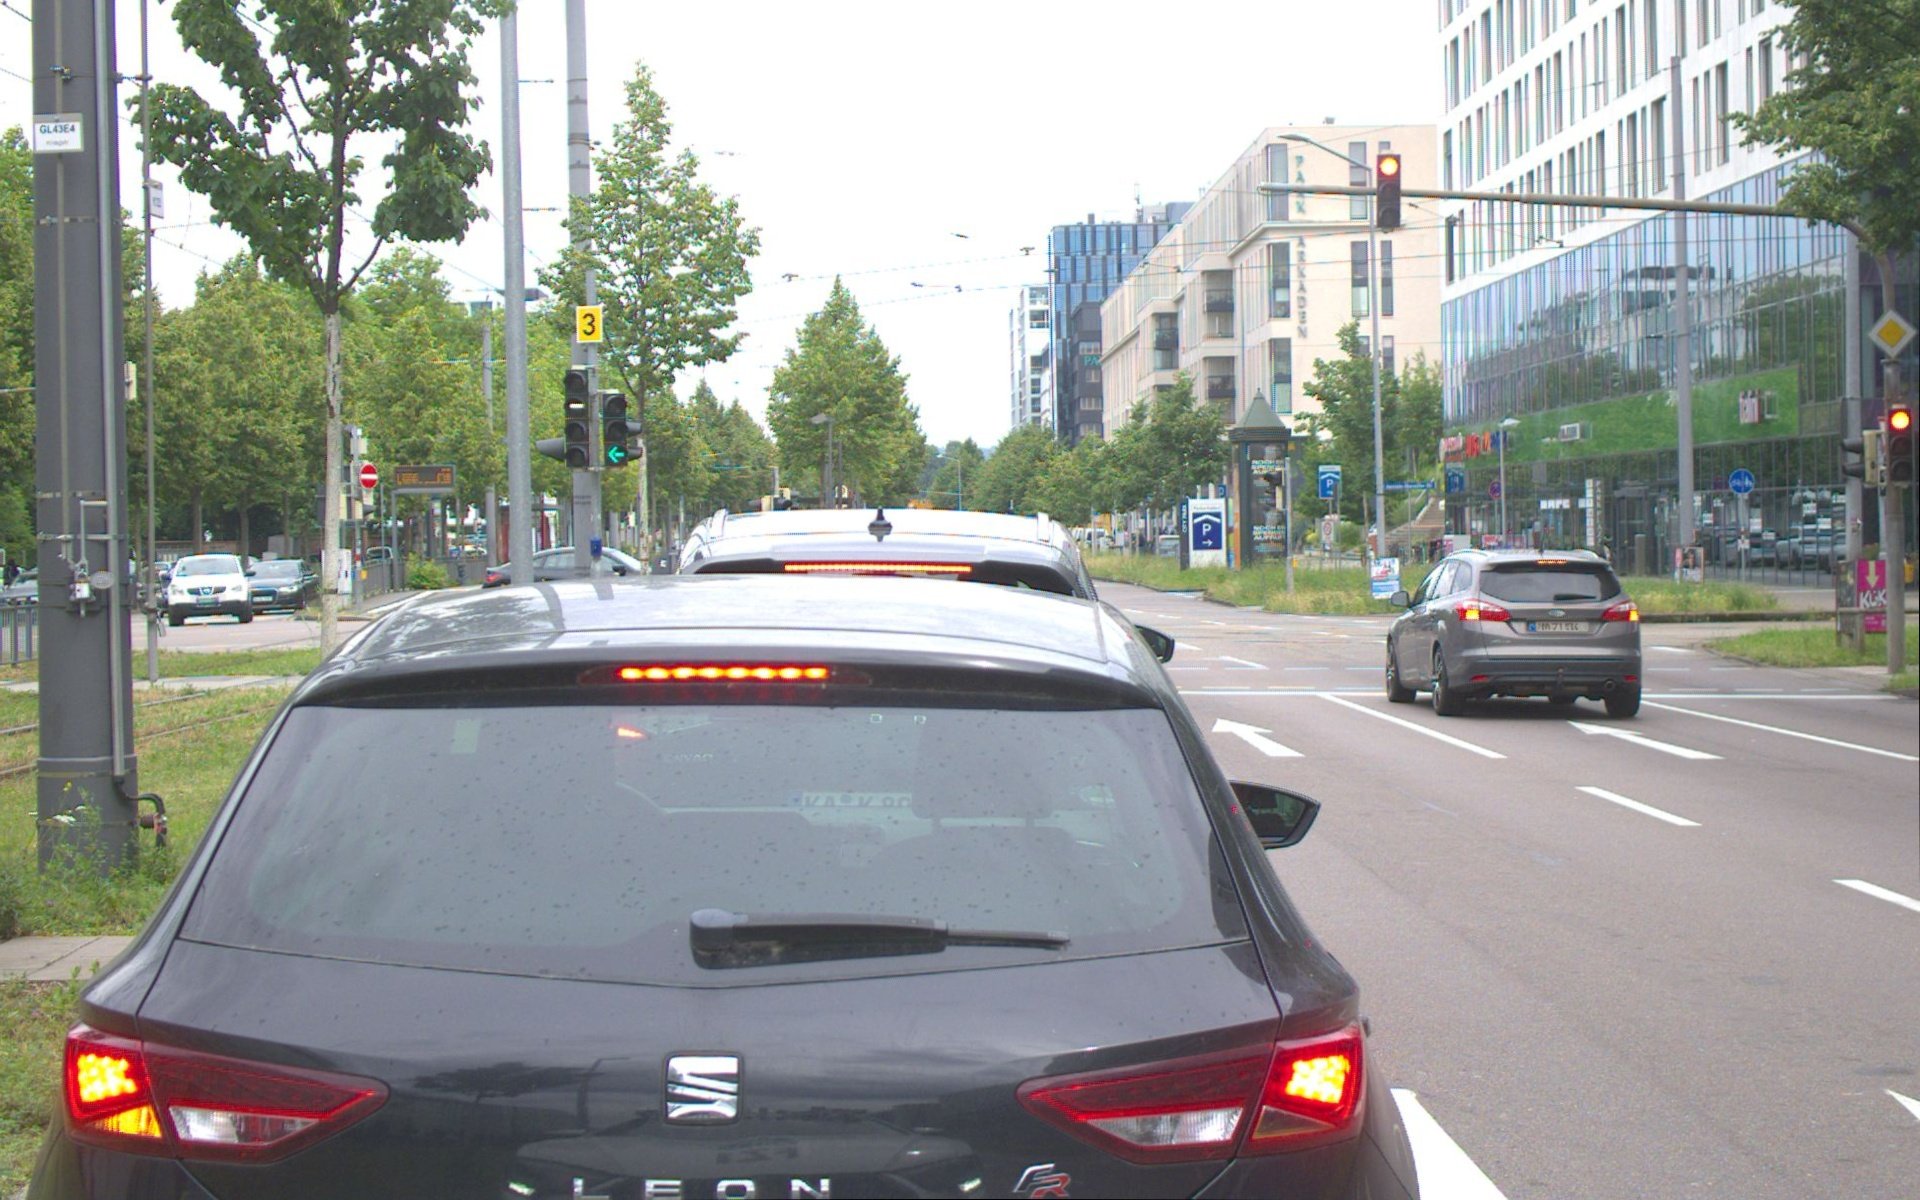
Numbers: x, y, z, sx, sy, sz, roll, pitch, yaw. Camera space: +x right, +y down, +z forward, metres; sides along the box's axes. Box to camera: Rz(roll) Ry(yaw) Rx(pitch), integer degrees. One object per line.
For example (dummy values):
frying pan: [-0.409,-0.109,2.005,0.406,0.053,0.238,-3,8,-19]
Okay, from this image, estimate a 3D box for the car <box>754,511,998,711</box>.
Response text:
car: [-0.693,0.043,31.144,1.993,1.676,4.000,1,1,2]

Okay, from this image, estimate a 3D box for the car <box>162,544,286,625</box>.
car: [-16.709,-0.381,78.191,1.993,1.744,4.201,-1,1,-2]

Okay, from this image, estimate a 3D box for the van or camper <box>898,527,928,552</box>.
van or camper: [-3.286,-4.256,239.978,1.993,1.609,4.789,0,2,0]

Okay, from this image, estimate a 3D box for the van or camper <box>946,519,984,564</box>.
van or camper: [0.288,-3.339,193.804,2.109,2.348,4.924,0,3,0]

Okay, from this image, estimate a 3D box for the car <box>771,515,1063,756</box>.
car: [-0.242,0.200,26.084,1.994,1.676,4.000,1,1,2]

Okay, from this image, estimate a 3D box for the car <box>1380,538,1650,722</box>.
car: [5.004,0.217,31.515,1.748,1.494,4.269,0,2,0]

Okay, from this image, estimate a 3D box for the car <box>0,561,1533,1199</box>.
car: [-0.347,0.675,5.476,1.743,1.412,4.000,1,1,-1]

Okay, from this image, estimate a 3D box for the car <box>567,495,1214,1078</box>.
car: [-0.217,0.484,11.701,1.802,1.619,4.000,-1,1,-1]
